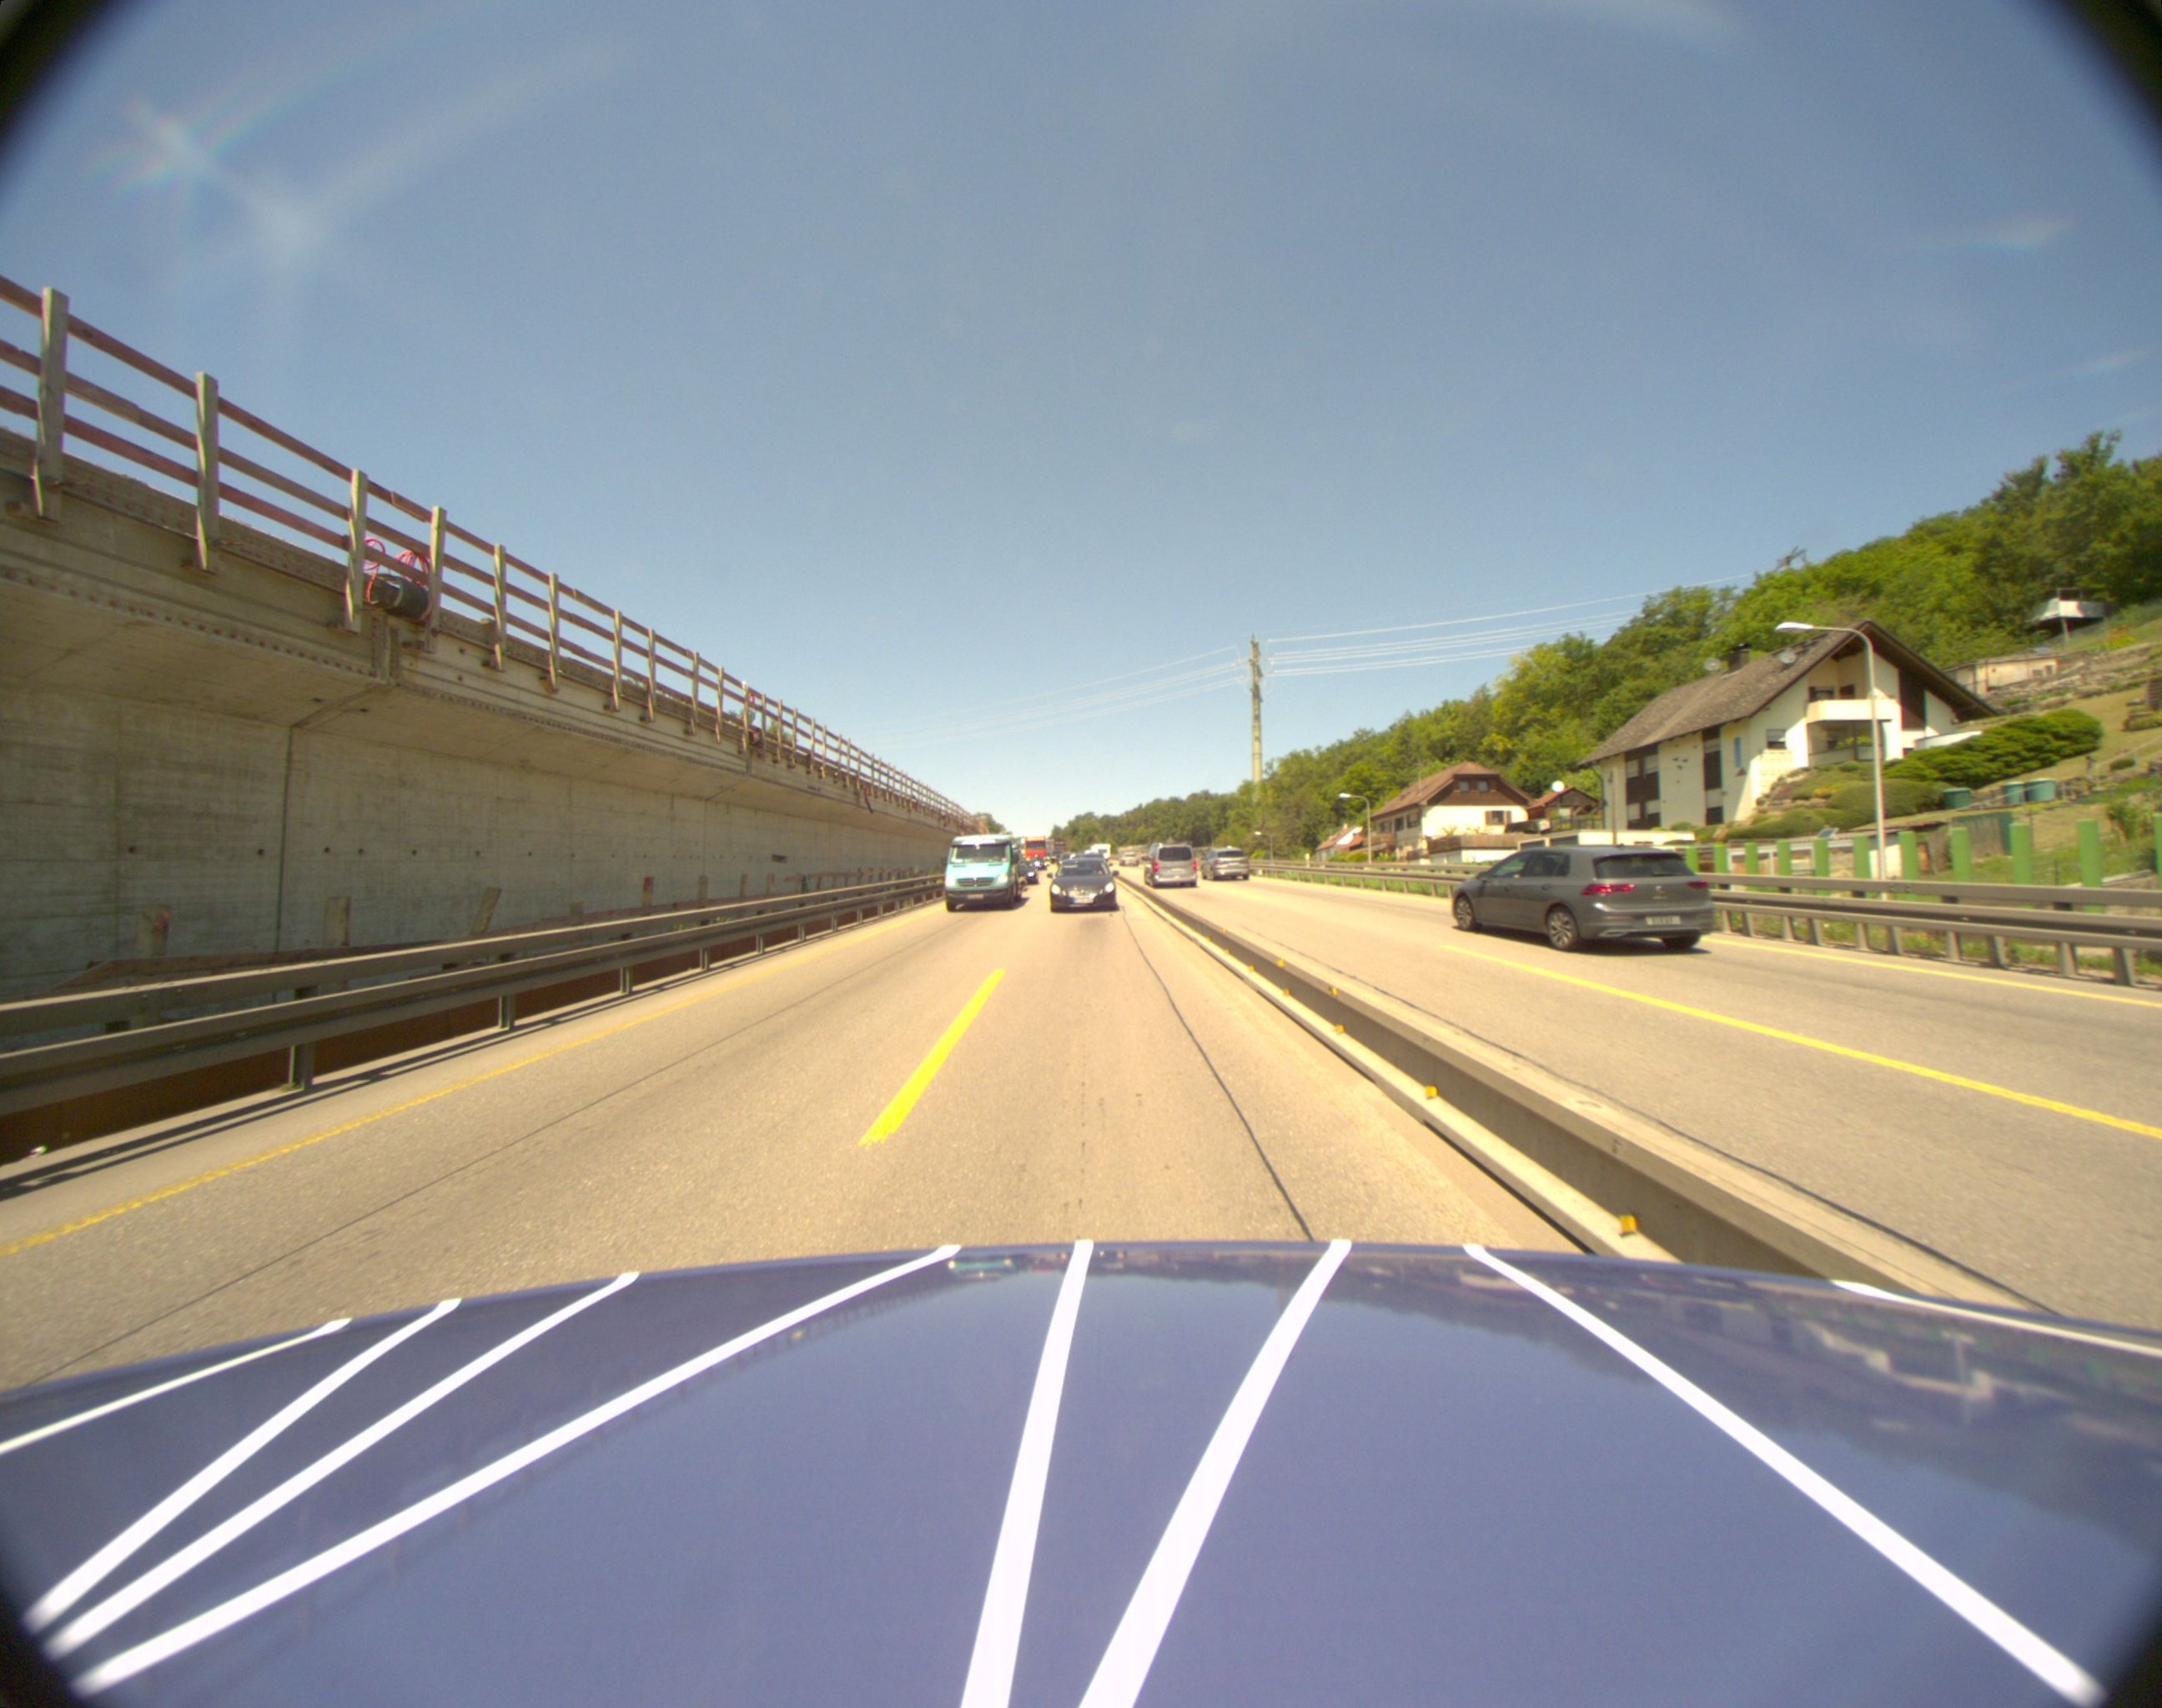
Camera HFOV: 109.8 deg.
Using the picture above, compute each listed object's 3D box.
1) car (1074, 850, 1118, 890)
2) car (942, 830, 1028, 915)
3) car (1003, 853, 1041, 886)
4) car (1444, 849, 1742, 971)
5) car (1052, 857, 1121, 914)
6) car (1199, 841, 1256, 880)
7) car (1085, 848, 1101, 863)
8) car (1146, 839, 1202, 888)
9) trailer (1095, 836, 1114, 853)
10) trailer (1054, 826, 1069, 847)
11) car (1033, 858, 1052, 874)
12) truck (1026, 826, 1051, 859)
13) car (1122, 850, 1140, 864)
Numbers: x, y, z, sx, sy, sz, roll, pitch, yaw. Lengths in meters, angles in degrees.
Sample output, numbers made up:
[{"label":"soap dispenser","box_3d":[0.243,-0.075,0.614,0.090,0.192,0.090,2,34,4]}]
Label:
[{"label":"car","box_3d":[0.660,0.685,35.437,1.859,1.650,3.999,-3,1,-1]},{"label":"car","box_3d":[-2.980,0.520,25.275,1.968,2.367,7.209,-2,0,-1]},{"label":"car","box_3d":[-3.290,0.831,43.233,1.860,1.650,3.999,-3,1,-1]},{"label":"car","box_3d":[7.270,0.678,11.369,1.753,1.434,4.052,-1,1,1]},{"label":"car","box_3d":[0.088,0.843,22.172,1.793,1.440,4.296,0,0,-2]},{"label":"car","box_3d":[7.422,0.279,38.851,1.998,1.817,4.508,-2,1,0]},{"label":"car","box_3d":[1.463,0.167,93.748,1.814,1.730,4.256,-2,0,-1]},{"label":"car","box_3d":[4.046,0.353,33.868,1.998,2.002,4.968,0,1,1]},{"label":"trailer","box_3d":[3.480,-1.433,115.379,2.606,2.573,6.240,-2,1,-1]},{"label":"trailer","box_3d":[-4.724,-4.083,183.374,3.130,4.687,12.074,-3,1,-2]},{"label":"car","box_3d":[-3.957,1.243,79.237,1.674,1.499,3.648,-3,1,1]},{"label":"truck","box_3d":[-5.375,-1.452,98.600,2.651,3.978,11.193,-3,1,-1]},{"label":"car","box_3d":[5.560,0.357,85.285,1.706,1.471,3.973,-2,0,-1]}]
